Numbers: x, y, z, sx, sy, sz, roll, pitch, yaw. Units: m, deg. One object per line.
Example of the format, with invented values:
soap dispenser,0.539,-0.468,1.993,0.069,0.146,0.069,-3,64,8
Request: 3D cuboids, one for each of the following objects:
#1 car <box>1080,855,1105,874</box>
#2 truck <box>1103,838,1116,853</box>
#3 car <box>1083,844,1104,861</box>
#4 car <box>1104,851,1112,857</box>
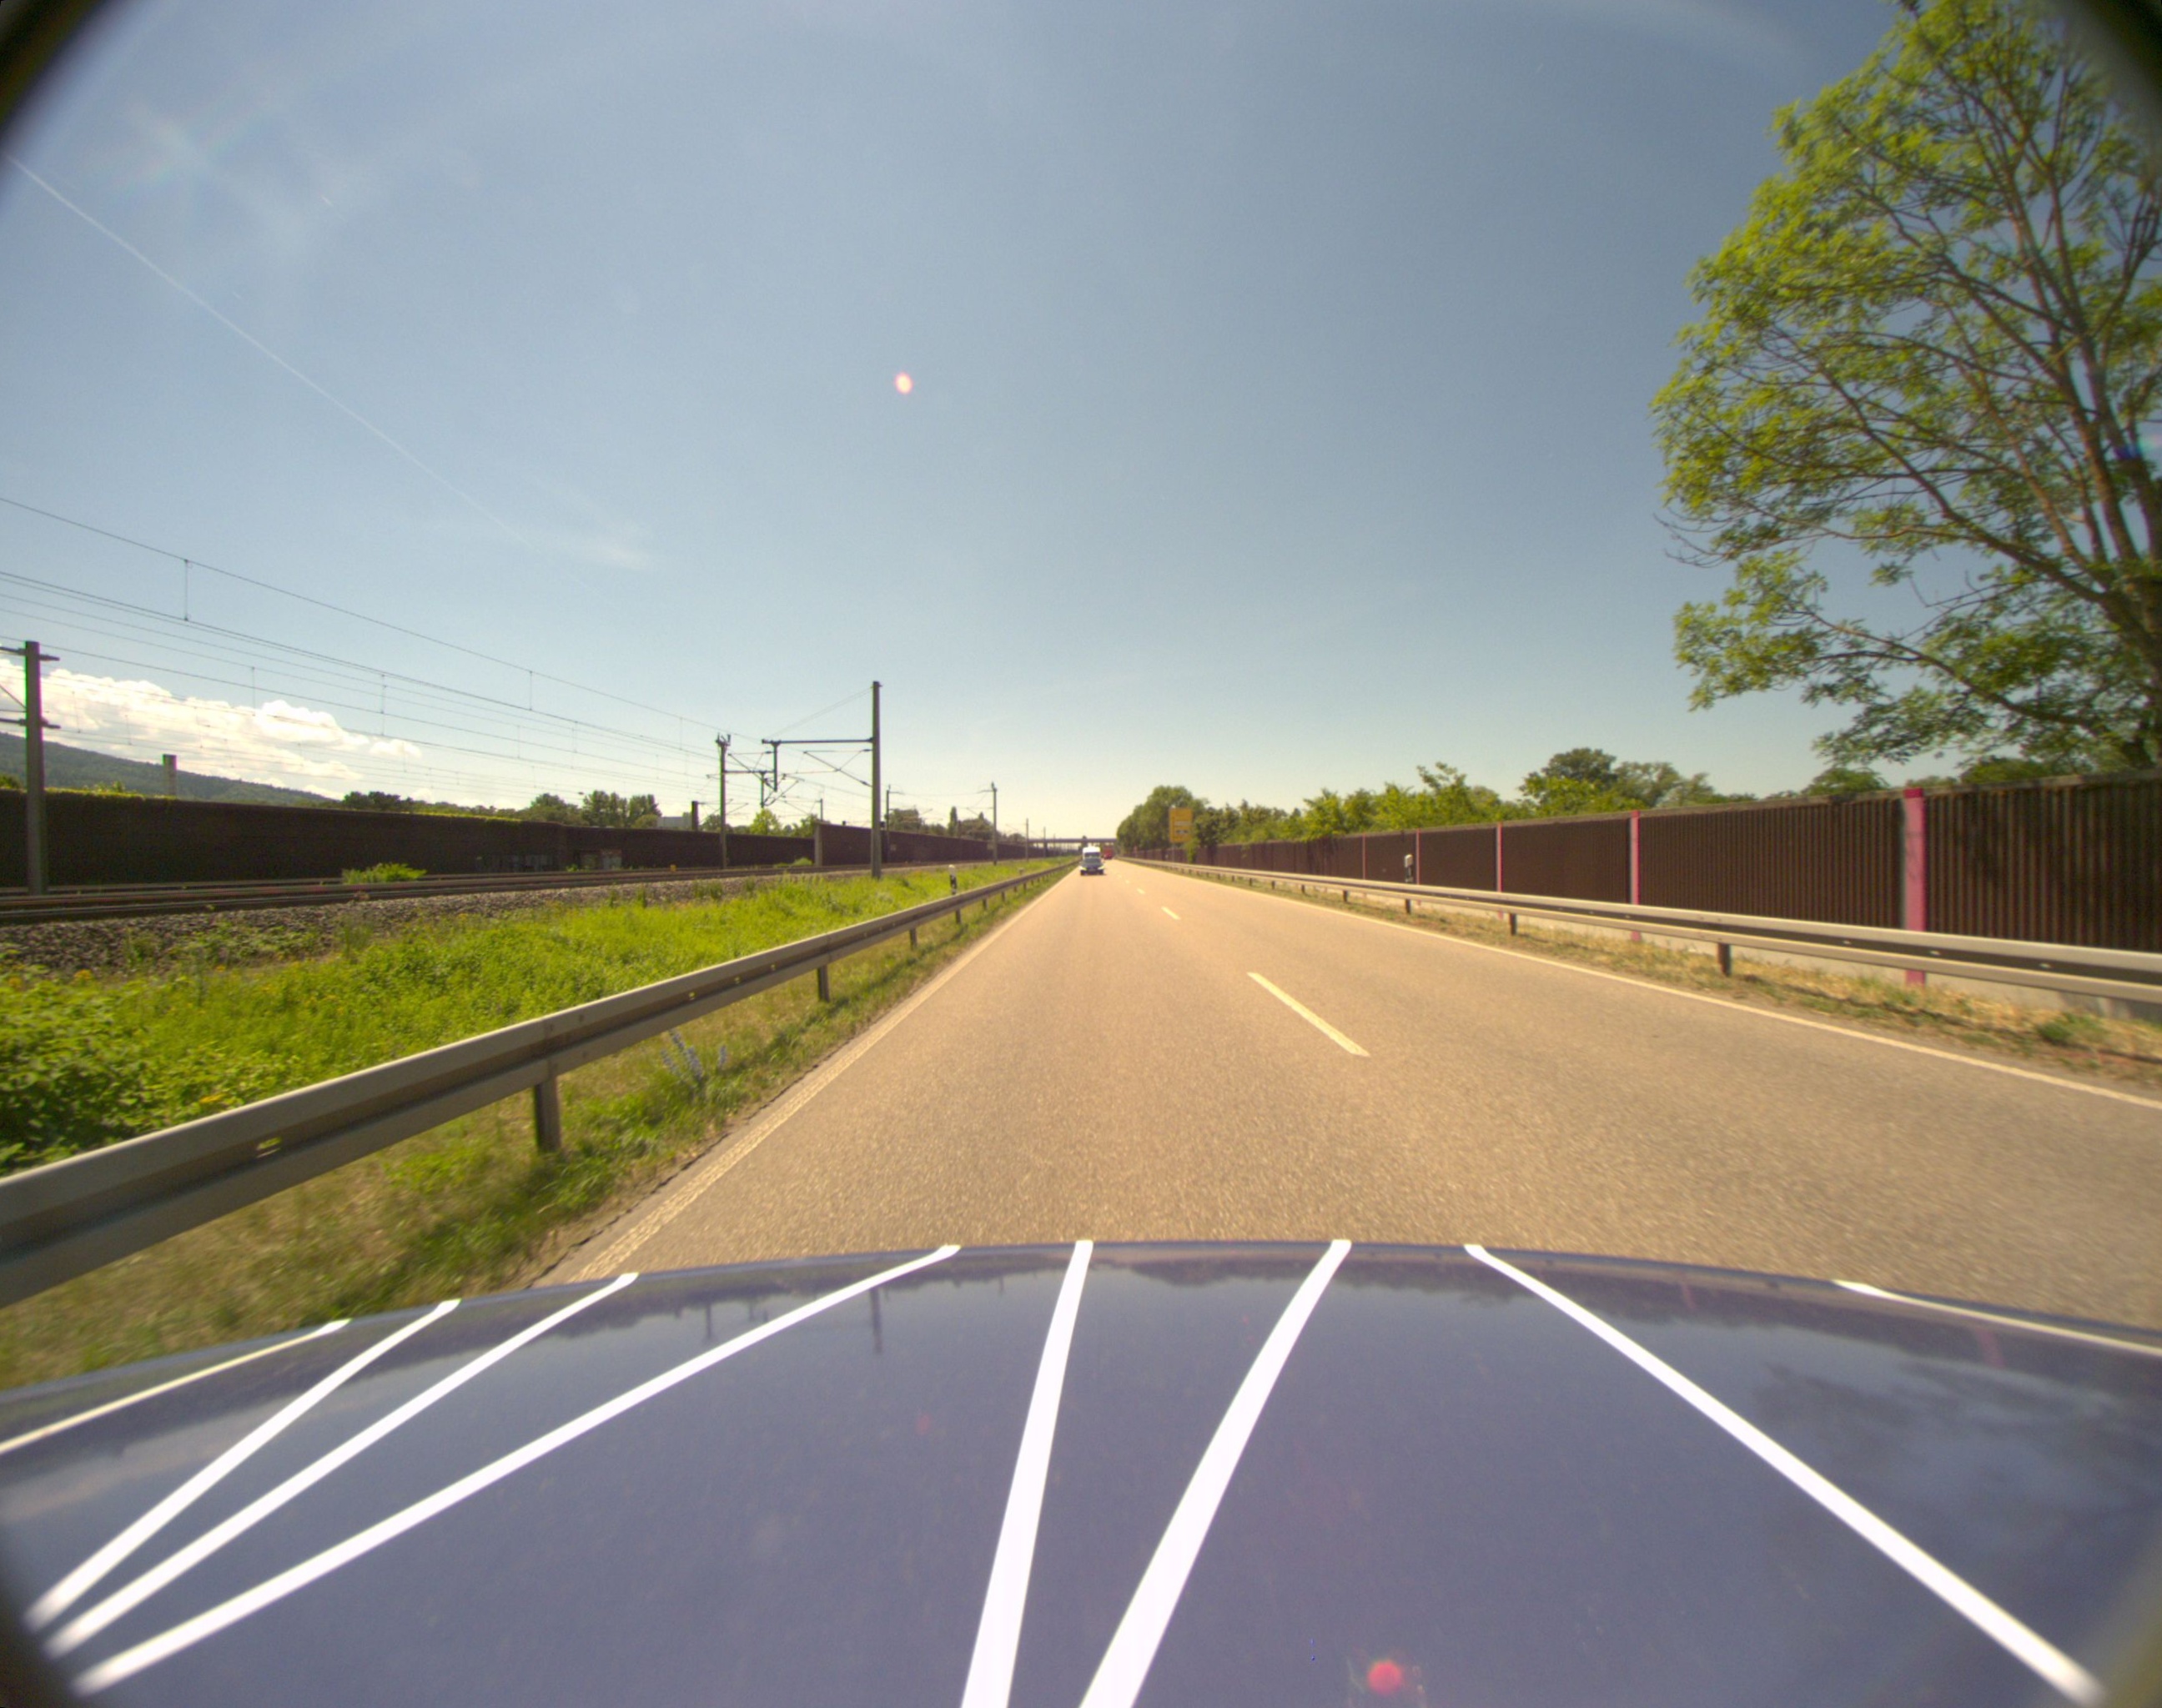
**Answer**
car,0.911,0.764,57.462,1.758,1.313,4.000,-3,0,1
truck,7.871,-2.231,208.337,3.132,3.942,9.718,-3,0,1
car,1.357,-0.208,83.267,2.161,1.701,4.493,-3,0,1
car,7.032,-0.074,196.743,1.994,1.486,4.493,-3,0,1
